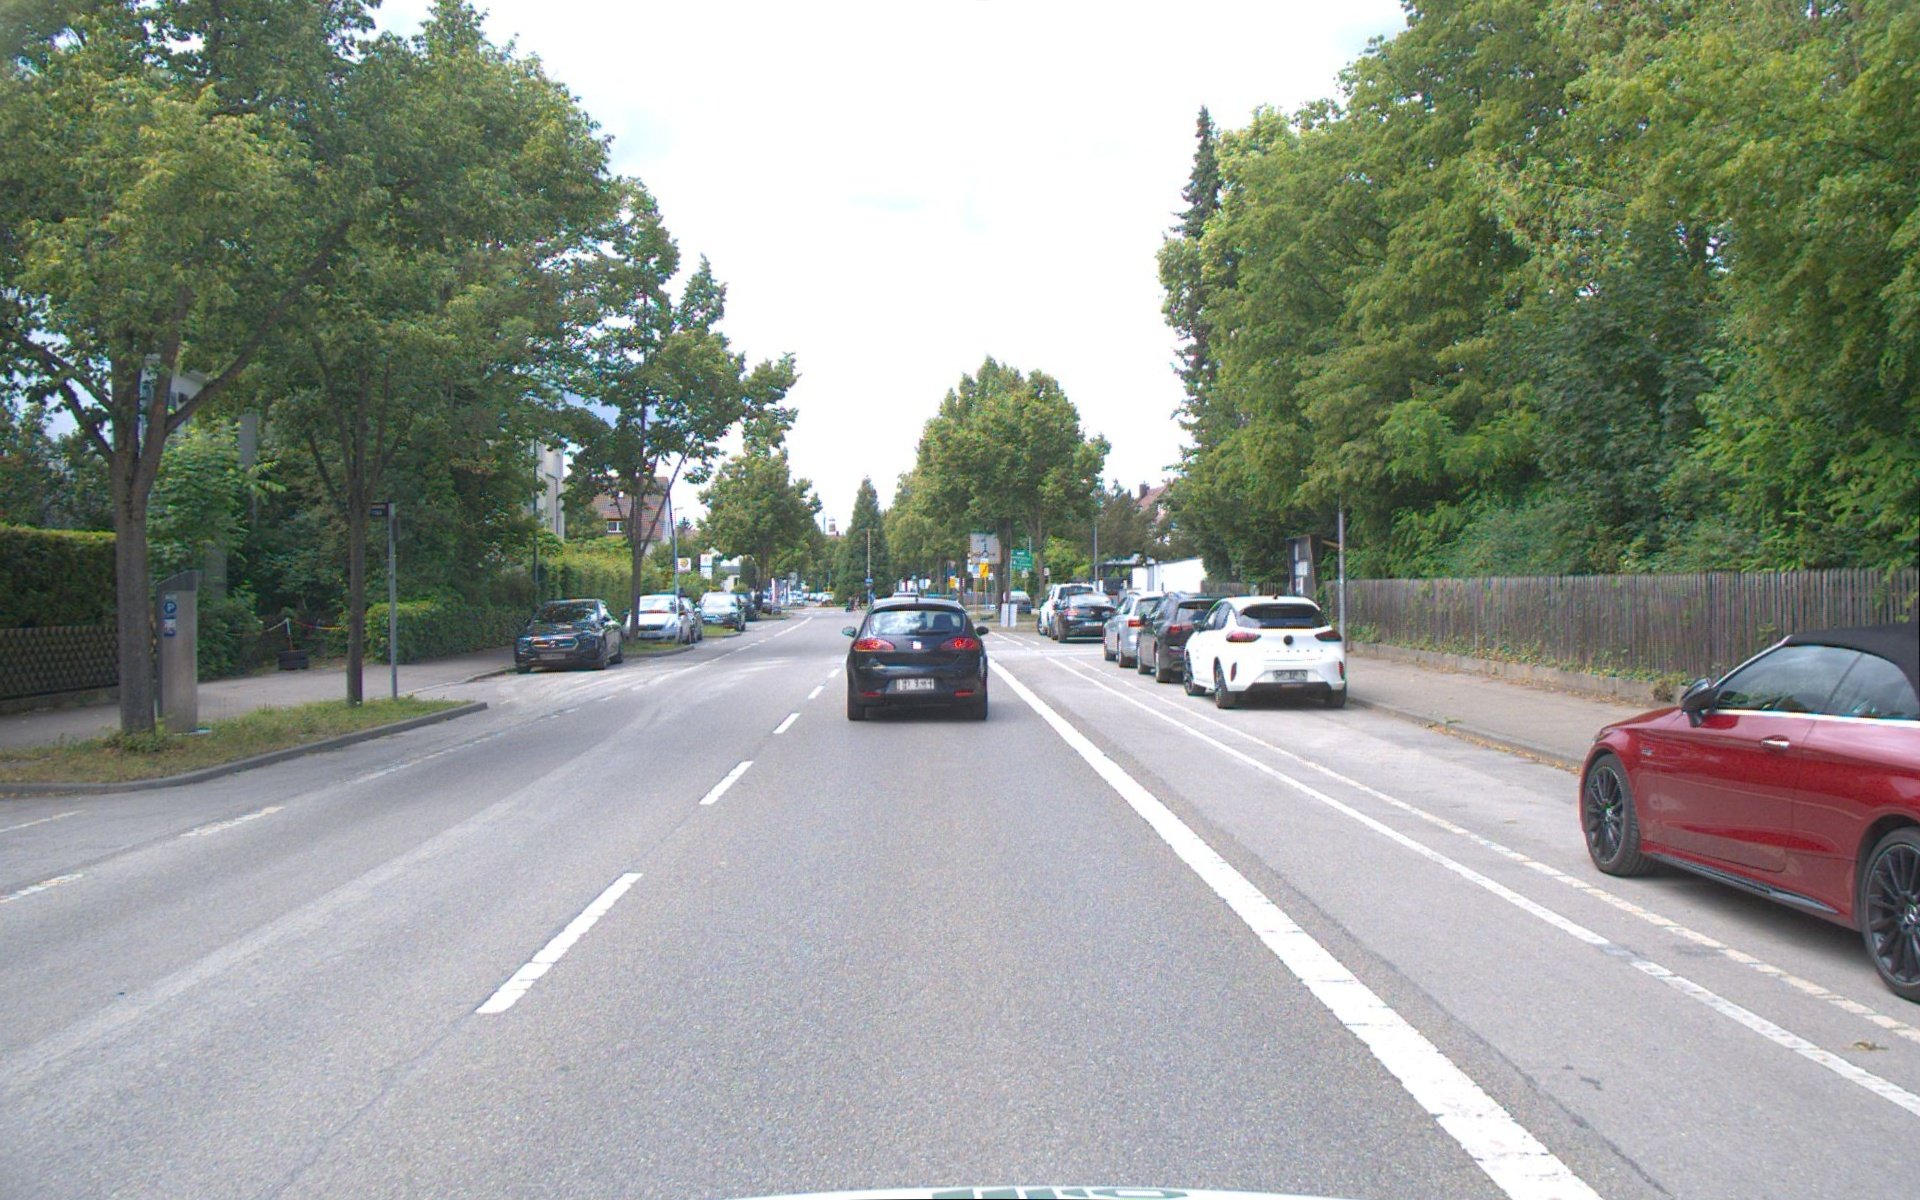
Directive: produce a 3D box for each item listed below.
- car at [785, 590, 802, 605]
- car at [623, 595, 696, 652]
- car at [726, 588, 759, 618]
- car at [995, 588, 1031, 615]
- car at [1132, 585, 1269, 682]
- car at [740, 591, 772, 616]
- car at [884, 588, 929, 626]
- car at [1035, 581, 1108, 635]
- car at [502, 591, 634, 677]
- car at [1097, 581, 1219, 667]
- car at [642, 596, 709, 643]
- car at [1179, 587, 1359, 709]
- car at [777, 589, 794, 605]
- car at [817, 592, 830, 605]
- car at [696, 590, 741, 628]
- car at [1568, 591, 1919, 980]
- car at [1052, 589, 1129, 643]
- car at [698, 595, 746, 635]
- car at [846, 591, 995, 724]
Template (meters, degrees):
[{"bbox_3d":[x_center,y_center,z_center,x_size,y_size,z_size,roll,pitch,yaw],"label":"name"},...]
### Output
[{"bbox_3d":[-19.298,-0.263,191.436,1.762,1.629,3.997,-2,0,-4],"label":"car"},{"bbox_3d":[-9.244,0.681,51.100,1.684,1.641,3.907,-2,0,-3],"label":"car"},{"bbox_3d":[-12.861,0.156,97.820,1.690,1.755,4.560,-1,0,-5],"label":"car"},{"bbox_3d":[2.880,0.104,90.670,1.579,1.401,4.384,-1,-1,-3],"label":"car"},{"bbox_3d":[4.115,0.517,28.948,1.667,1.536,4.537,0,1,-1],"label":"car"},{"bbox_3d":[-14.028,0.202,114.119,1.823,1.682,4.292,-1,0,-2],"label":"car"},{"bbox_3d":[-2.410,0.291,74.549,1.953,1.641,3.998,-1,0,-2],"label":"car"},{"bbox_3d":[3.587,0.255,53.807,1.863,1.671,4.114,-1,0,-3],"label":"car"},{"bbox_3d":[-8.591,0.691,36.678,2.054,1.675,5.034,-2,1,-5],"label":"car"},{"bbox_3d":[4.018,0.465,34.230,1.824,1.639,4.685,0,0,-2],"label":"car"},{"bbox_3d":[-10.015,0.656,58.531,1.955,1.511,4.885,-2,0,-6],"label":"car"},{"bbox_3d":[4.229,0.623,23.209,1.732,1.537,4.030,-1,0,0],"label":"car"},{"bbox_3d":[-22.058,-0.358,209.328,1.991,2.005,3.995,-2,0,-6],"label":"car"},{"bbox_3d":[-17.580,-0.187,213.170,1.537,1.662,3.620,-1,0,-2],"label":"car"},{"bbox_3d":[-11.185,0.403,76.757,1.785,1.662,4.581,-2,0,-6],"label":"car"},{"bbox_3d":[4.548,0.726,7.539,1.821,1.438,4.442,1,1,-1],"label":"car"},{"bbox_3d":[3.705,0.436,47.730,1.825,1.441,4.602,-1,1,0],"label":"car"},{"bbox_3d":[-9.880,0.587,68.830,1.644,1.579,4.269,-1,0,-4],"label":"car"},{"bbox_3d":[-0.467,0.653,21.095,1.697,1.512,4.000,1,0,0],"label":"car"}]
